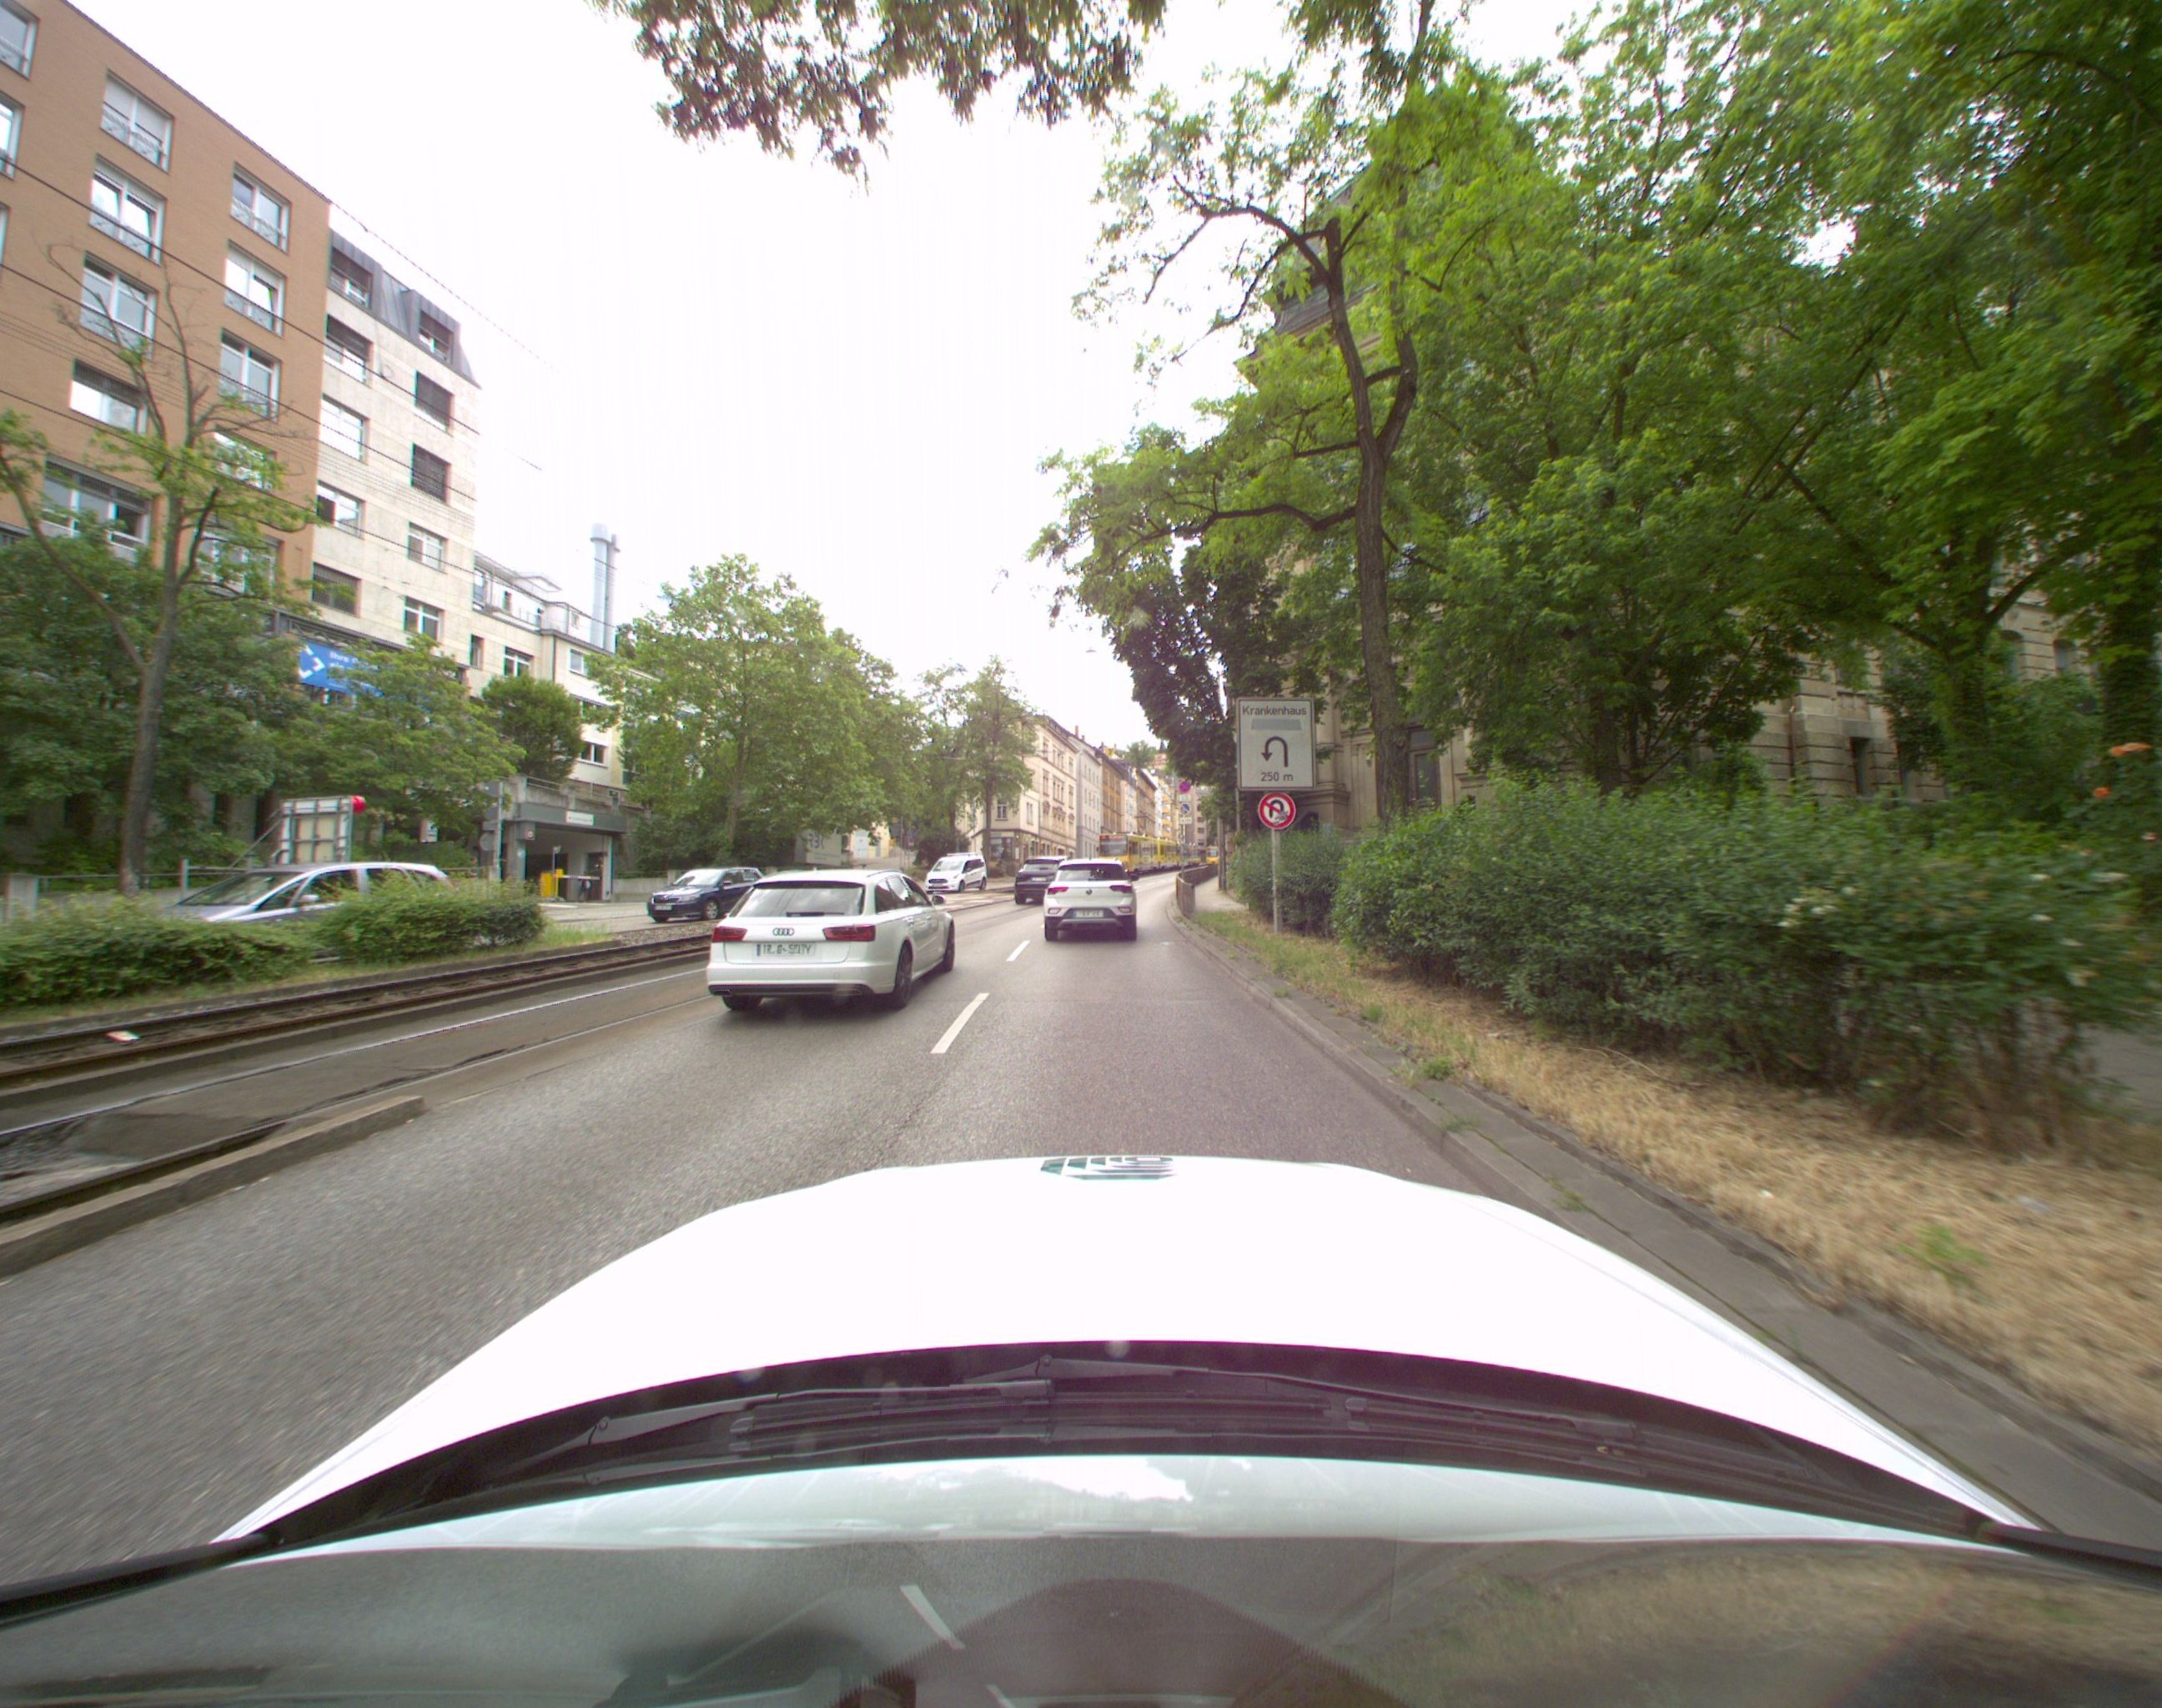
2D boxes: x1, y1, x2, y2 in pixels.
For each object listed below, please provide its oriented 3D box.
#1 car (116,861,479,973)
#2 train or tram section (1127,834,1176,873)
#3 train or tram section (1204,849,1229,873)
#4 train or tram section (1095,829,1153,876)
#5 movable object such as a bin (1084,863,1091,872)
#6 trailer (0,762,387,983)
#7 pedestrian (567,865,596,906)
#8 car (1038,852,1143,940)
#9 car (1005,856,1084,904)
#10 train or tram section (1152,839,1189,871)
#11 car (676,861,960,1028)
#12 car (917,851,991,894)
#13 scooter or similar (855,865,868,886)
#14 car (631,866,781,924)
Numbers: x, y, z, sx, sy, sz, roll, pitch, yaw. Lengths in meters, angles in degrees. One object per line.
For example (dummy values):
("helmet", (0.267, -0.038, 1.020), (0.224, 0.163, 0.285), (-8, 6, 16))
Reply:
("car", (-11.846, 0.860, 12.694), (1.647, 1.443, 3.753), (-2, 0, 13))
("train or tram section", (7.816, 0.021, 87.565), (2.857, 3.726, 18.764), (0, 0, 12))
("train or tram section", (25.658, 1.284, 153.328), (2.995, 4.214, 18.932), (-1, -1, 15))
("train or tram section", (4.015, -0.080, 71.170), (2.863, 3.726, 14.903), (0, 0, 12))
("movable object such as a bin", (0.755, 1.687, 98.348), (0.737, 1.074, 0.609), (-1, -1, 12))
("trailer", (-15.002, 0.252, 13.132), (2.005, 2.973, 5.611), (0, 0, 15))
("pedestrian", (-24.076, 1.507, 39.237), (0.806, 1.911, 0.796), (-2, -1, 13))
("car", (0.185, 0.777, 16.811), (1.873, 1.554, 3.999), (-1, -1, 0))
("car", (-1.222, 0.885, 29.330), (2.026, 1.571, 4.367), (-1, -1, 8))
("train or tram section", (11.852, 0.155, 105.918), (2.857, 3.726, 18.819), (0, 0, 12))
("car", (-2.736, 0.846, 9.730), (1.873, 1.455, 4.616), (-1, 0, 0))
("car", (-6.205, 0.851, 40.440), (1.934, 1.946, 5.019), (-1, 0, 12))
("scooter or similar", (-13.307, 1.308, 49.393), (0.489, 1.219, 1.637), (1, -1, -7))
("car", (-10.315, 1.080, 22.770), (1.755, 1.408, 4.094), (-2, 0, 10))
